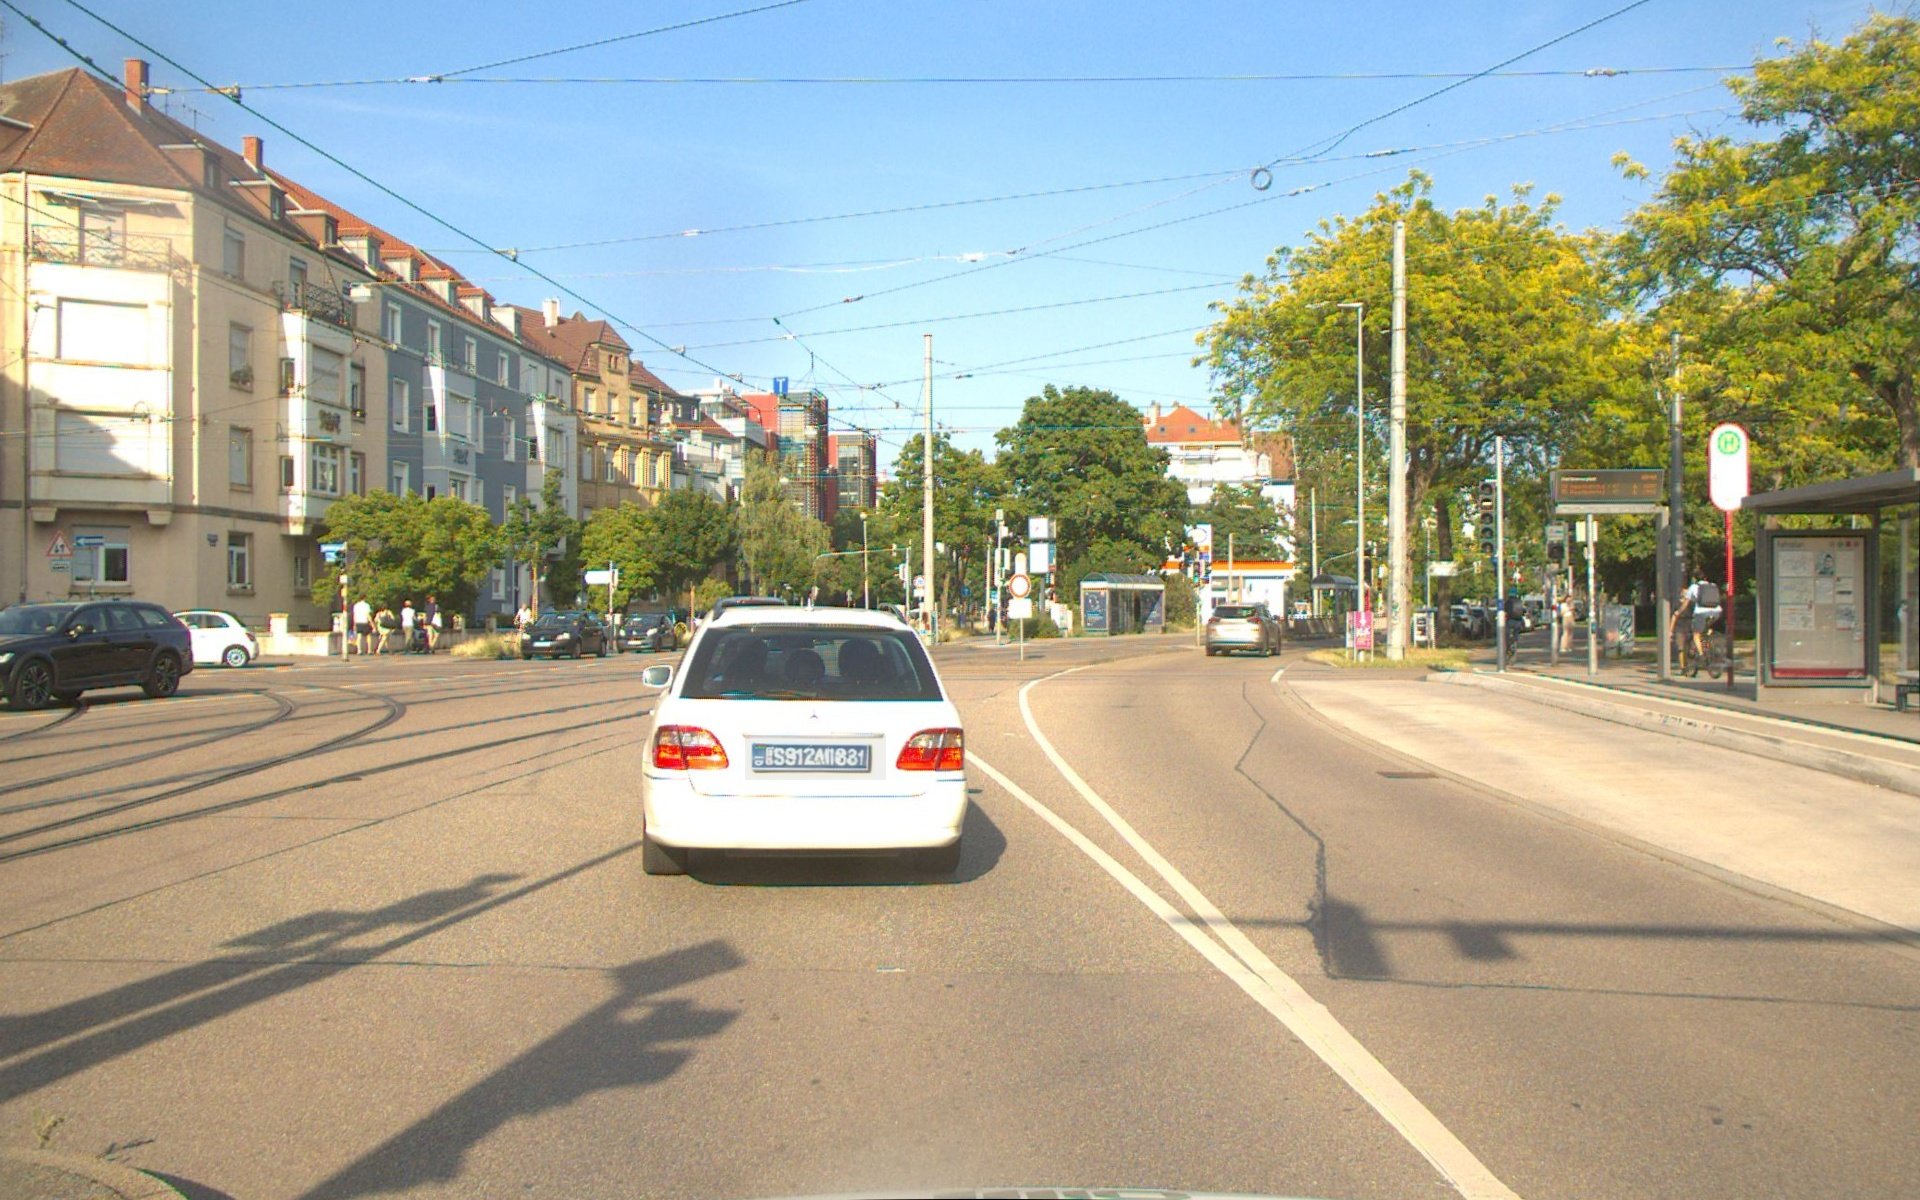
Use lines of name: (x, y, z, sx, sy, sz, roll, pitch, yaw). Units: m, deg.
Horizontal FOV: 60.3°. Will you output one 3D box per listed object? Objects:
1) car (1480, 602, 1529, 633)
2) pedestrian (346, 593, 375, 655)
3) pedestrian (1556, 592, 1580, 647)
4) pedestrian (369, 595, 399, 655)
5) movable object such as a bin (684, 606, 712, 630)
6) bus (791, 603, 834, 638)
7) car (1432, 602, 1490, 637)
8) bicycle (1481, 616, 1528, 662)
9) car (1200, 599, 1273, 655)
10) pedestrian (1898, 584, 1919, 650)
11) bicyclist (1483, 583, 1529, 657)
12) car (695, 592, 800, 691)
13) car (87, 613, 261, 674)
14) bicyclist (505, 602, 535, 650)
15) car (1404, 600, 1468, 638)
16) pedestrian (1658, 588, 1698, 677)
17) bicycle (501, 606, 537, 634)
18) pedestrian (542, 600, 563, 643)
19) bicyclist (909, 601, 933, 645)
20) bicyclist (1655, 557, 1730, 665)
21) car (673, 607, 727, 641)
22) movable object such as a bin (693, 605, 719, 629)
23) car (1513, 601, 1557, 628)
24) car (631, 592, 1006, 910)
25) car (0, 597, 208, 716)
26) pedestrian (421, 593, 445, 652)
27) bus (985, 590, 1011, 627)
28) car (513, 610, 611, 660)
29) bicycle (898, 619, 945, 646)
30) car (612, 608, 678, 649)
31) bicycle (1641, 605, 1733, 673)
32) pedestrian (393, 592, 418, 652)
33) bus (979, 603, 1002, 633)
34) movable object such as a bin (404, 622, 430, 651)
car: (28.591, 0.898, 86.827, 1.818, 1.542, 3.995, -2, -1, 27)
pedestrian: (-18.631, 0.740, 51.415, 0.645, 1.914, 0.627, 0, -1, 3)
pedestrian: (18.921, 0.601, 51.491, 0.627, 1.694, 0.691, 0, -1, 14)
pedestrian: (-17.939, 0.775, 51.493, 0.660, 1.880, 0.650, 0, -1, 6)
movable object such as a bin: (-15.454, 1.057, 97.573, 1.573, 1.446, 1.082, 0, 0, -8)
bus: (-7.123, 0.988, 80.193, 1.807, 1.665, 4.158, 0, 0, -1)
car: (22.977, 0.878, 75.789, 1.818, 1.542, 3.995, -2, -1, 27)
bicycle: (13.641, 0.967, 41.491, 0.627, 1.107, 1.734, -3, -1, 3)
car: (8.580, 0.828, 51.096, 1.796, 1.628, 3.817, 1, -1, 16)
pedestrian: (23.979, 0.417, 41.386, 0.628, 1.639, 0.690, 0, -1, -1)
bicyclist: (13.593, 0.504, 41.213, 0.705, 1.776, 1.140, -3, -1, 2)
car: (-3.732, 0.707, 29.507, 1.609, 1.628, 3.811, 1, -1, -4)
car: (-20.171, 1.094, 42.606, 3.932, 1.482, 1.787, 0, 0, -23)
bicyclist: (-15.966, 0.942, 60.045, 0.744, 1.697, 1.167, 0, 0, 0)
car: (20.489, 0.790, 71.061, 1.818, 1.542, 3.994, -2, -1, 28)
pedestrian: (14.785, 0.663, 34.045, 0.565, 1.808, 0.588, 2, -1, 7)
bicycle: (-15.943, 0.727, 59.884, 0.753, 0.982, 2.034, 0, 0, 0)
pedestrian: (-16.908, 0.887, 68.600, 0.625, 1.781, 0.911, 0, -1, 2)
bicyclist: (-1.568, 0.916, 66.661, 0.881, 1.728, 0.732, -2, -1, -1)
bicyclist: (12.523, 0.187, 28.301, 0.636, 1.776, 1.139, -3, -1, -2)
car: (-11.884, 1.088, 75.812, 1.654, 1.466, 4.001, 0, 0, 3)
movable object such as a bin: (-15.178, 1.003, 99.027, 1.505, 1.446, 1.082, 0, 0, -8)
car: (33.486, 0.836, 96.262, 1.818, 1.542, 3.995, -2, -1, 27)
car: (-0.980, 0.760, 10.000, 1.801, 1.528, 3.806, 2, -1, -9)
car: (-13.296, 0.765, 24.607, 1.729, 1.521, 4.747, 0, 1, 4)
pedestrian: (-17.202, 0.737, 53.986, 0.572, 1.914, 0.627, 0, -1, 4)
bus: (2.781, 0.637, 122.325, 1.761, 2.600, 4.000, 2, -1, 1)
car: (-12.218, 1.045, 51.018, 1.729, 1.458, 4.002, 0, 0, 5)
bicycle: (-1.553, 1.292, 66.663, 1.875, 1.012, 0.726, -2, 0, -1)
car: (-11.748, 1.049, 61.906, 1.600, 1.458, 3.629, 0, 0, 3)
bicycle: (12.550, 0.665, 28.612, 0.627, 1.107, 1.939, -2, -1, -2)
pedestrian: (-18.041, 0.709, 53.794, 0.572, 1.914, 0.627, 0, -1, 3)
bus: (2.493, 1.483, 137.592, 1.761, 2.374, 3.999, 2, -1, 0)
movable object such as a bin: (-17.930, 1.204, 54.654, 0.570, 0.963, 0.663, 0, -1, 8)
